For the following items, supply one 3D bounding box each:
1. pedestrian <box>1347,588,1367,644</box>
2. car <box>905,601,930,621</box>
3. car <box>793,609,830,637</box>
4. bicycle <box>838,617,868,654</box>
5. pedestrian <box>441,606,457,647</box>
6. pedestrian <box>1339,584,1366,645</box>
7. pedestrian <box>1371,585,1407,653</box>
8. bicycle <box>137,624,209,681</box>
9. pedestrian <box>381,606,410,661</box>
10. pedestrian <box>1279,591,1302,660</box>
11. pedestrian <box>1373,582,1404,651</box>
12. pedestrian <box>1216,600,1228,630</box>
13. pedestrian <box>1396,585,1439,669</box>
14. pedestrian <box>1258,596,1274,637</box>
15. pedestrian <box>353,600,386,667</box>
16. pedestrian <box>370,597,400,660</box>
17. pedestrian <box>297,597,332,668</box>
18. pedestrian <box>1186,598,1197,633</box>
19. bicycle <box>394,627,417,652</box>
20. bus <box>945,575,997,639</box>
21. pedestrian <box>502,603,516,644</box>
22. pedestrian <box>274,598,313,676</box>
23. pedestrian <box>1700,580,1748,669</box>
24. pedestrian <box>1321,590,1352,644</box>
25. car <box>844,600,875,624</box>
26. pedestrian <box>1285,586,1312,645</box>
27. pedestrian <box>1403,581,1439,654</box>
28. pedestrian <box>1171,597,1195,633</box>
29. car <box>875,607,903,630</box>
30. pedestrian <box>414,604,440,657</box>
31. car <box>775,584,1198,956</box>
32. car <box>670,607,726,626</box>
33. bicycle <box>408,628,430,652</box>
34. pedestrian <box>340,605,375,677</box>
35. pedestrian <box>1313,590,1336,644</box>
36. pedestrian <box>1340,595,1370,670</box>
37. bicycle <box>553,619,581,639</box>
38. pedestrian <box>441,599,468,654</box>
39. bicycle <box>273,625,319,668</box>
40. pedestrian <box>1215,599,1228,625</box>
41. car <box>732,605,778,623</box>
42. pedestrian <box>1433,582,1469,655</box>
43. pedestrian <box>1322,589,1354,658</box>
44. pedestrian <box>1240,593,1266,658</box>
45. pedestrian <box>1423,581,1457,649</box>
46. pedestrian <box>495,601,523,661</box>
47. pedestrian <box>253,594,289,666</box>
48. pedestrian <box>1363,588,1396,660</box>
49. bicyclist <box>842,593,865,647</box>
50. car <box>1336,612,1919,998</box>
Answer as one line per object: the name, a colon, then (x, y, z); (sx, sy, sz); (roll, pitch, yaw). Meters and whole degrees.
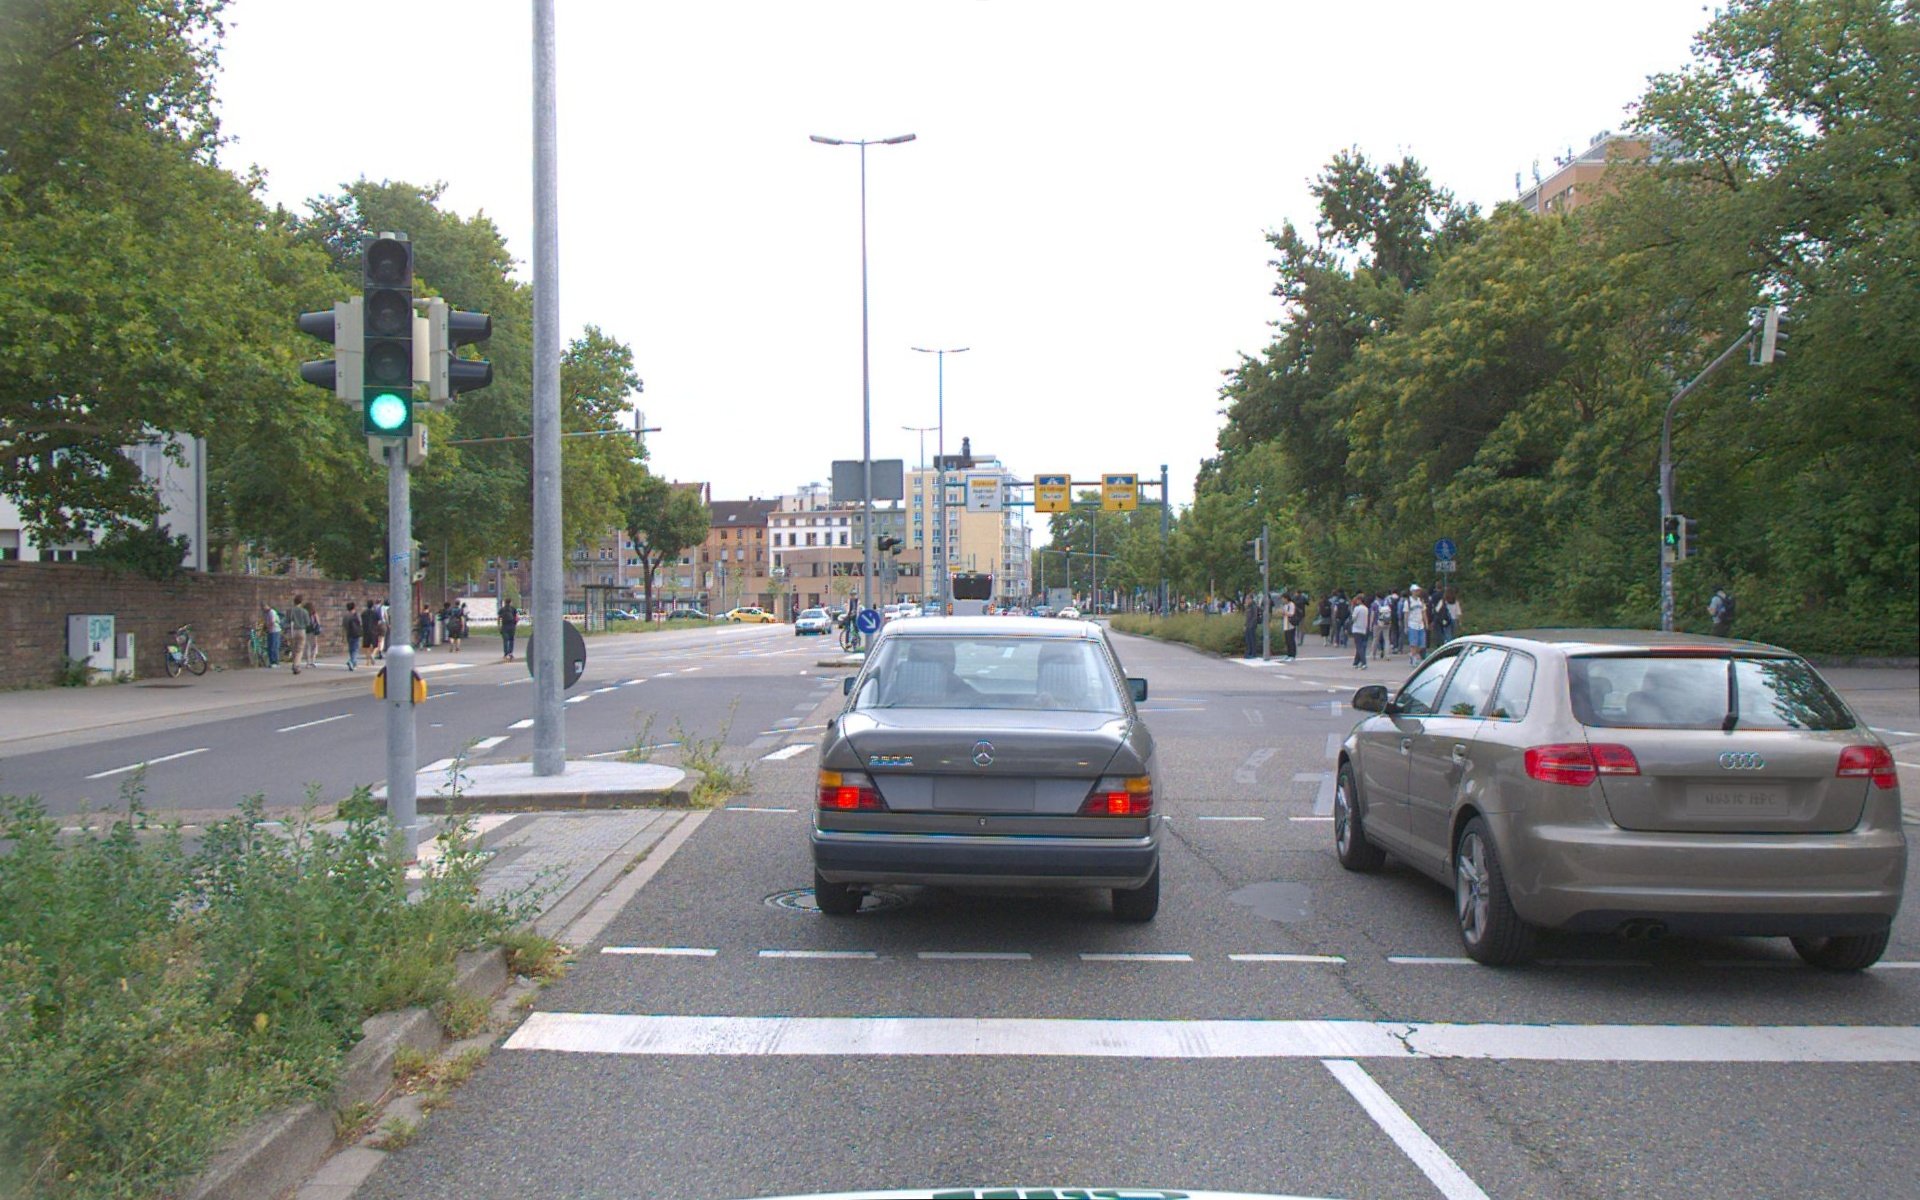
pedestrian: (12.927, 0.528, 53.897); (0.474, 1.794, 0.664); (-1, -1, 3)
car: (-3.377, 0.875, 131.993); (1.764, 1.538, 4.104); (-1, -1, 2)
car: (-8.431, 1.297, 94.176); (1.725, 1.515, 4.545); (-1, 0, 0)
bicycle: (-3.180, 1.039, 49.233); (0.561, 1.074, 1.927); (-1, 0, 6)
pedestrian: (-20.491, 1.062, 66.350); (0.577, 1.620, 0.731); (0, -2, -20)
pedestrian: (12.225, 0.452, 51.515); (0.642, 1.853, 0.812); (-1, -1, 2)
pedestrian: (11.643, 0.501, 44.909); (0.643, 1.797, 0.957); (-3, -1, 0)
bicycle: (-17.193, 1.133, 36.188); (0.566, 1.145, 2.164); (2, 0, -2)
pedestrian: (-18.002, 1.061, 52.715); (0.749, 1.700, 0.916); (-1, -2, -26)
pedestrian: (8.494, 0.651, 42.530); (0.445, 1.765, 0.637); (-1, -1, 0)
pedestrian: (11.207, 0.432, 43.283); (0.569, 1.776, 0.789); (-1, -1, 0)
pedestrian: (15.304, 0.857, 96.645); (0.633, 1.743, 0.562); (-1, -1, 17)
pedestrian: (10.406, 0.608, 37.671); (0.633, 1.885, 0.827); (1, -1, -12)
pedestrian: (13.127, 0.712, 70.964); (0.575, 1.712, 0.748); (-1, -1, 2)
pedestrian: (-15.981, 0.909, 44.775); (0.749, 1.814, 0.777); (0, -2, -27)
pedestrian: (-16.915, 0.841, 48.643); (0.749, 1.814, 0.907); (0, -2, -26)
pedestrian: (-16.666, 0.852, 42.681); (0.750, 1.814, 0.776); (1, -2, -30)
pedestrian: (13.457, 0.905, 96.152); (0.601, 2.049, 0.597); (0, -1, 1)
bicycle: (-19.516, 1.380, 58.209); (0.432, 0.811, 1.618); (2, 0, -7)
bus: (0.634, 0.391, 92.858); (2.773, 3.450, 8.183); (0, 0, 0)
pedestrian: (-18.746, 0.970, 68.822); (0.550, 1.697, 0.624); (0, -2, -14)
pedestrian: (-15.792, 0.882, 39.187); (0.737, 1.814, 0.776); (1, -2, -31)
pedestrian: (15.898, 0.514, 34.429); (0.631, 1.827, 0.740); (-1, -1, 0)
pedestrian: (11.432, 0.518, 50.219); (0.759, 1.630, 0.812); (-1, -1, 2)
car: (-7.015, 0.849, 115.505); (1.858, 1.644, 4.744); (-1, 0, 0)
pedestrian: (10.861, 0.486, 53.046); (0.678, 1.853, 0.954); (-1, -1, 3)
pedestrian: (11.464, 0.435, 41.119); (0.643, 1.776, 0.780); (-1, -1, 0)
pedestrian: (11.502, 0.763, 85.227); (0.916, 1.862, 0.885); (-1, -1, 30)
car: (-4.749, 1.213, 111.269); (1.765, 1.515, 4.288); (-1, 0, -1)
pedestrian: (-18.422, 1.047, 57.141); (0.749, 1.814, 0.777); (0, -2, -27)
car: (0.172, 0.708, 8.888); (1.724, 1.515, 4.172); (-1, 0, 2)
car: (-22.733, 1.420, 143.451); (4.576, 1.501, 1.659); (1, 0, -3)
bicycle: (-19.780, 1.467, 60.457); (0.432, 0.811, 1.618); (2, 0, -7)
pedestrian: (-15.417, 1.055, 42.298); (0.750, 1.814, 0.777); (1, -2, -28)
pedestrian: (11.504, 0.532, 52.222); (0.544, 1.684, 0.754); (-1, -1, 3)
pedestrian: (9.080, 0.740, 38.025); (0.534, 1.716, 0.637); (-1, -1, 0)
bicycle: (-19.323, 1.438, 81.340); (0.460, 0.935, 2.341); (-1, 0, 10)
pedestrian: (-16.803, 0.891, 54.962); (0.749, 1.814, 0.916); (0, -2, -26)
bicycle: (-17.860, 1.230, 44.507); (0.538, 1.077, 1.979); (2, 0, -4)
pedestrian: (14.707, 0.675, 93.028); (0.644, 1.496, 0.561); (0, 0, -1)
car: (-17.790, 1.194, 143.776); (3.779, 1.544, 1.659); (1, 0, -3)
pedestrian: (12.181, 0.464, 41.042); (0.643, 1.776, 0.780); (-1, -1, 0)
pedestrian: (9.965, 0.617, 43.662); (0.643, 1.776, 0.780); (-1, -1, 0)
pedestrian: (8.014, 0.697, 45.271); (0.589, 1.765, 0.654); (-1, -1, 0)
pedestrian: (12.705, 0.405, 43.775); (0.643, 1.776, 0.780); (-1, -1, 0)
pedestrian: (-13.558, 0.934, 49.690); (0.748, 1.814, 0.717); (0, -2, -22)
pedestrian: (-17.526, 0.773, 42.074); (0.737, 1.814, 0.775); (1, -2, -33)
pedestrian: (10.468, 0.585, 41.312); (0.611, 1.776, 0.780); (-1, -1, 0)
bicyclist: (-3.160, 0.599, 49.278); (0.560, 1.601, 0.700); (-1, 0, 6)
car: (3.121, 0.815, 8.330); (1.688, 1.483, 3.736); (-1, 0, 2)
